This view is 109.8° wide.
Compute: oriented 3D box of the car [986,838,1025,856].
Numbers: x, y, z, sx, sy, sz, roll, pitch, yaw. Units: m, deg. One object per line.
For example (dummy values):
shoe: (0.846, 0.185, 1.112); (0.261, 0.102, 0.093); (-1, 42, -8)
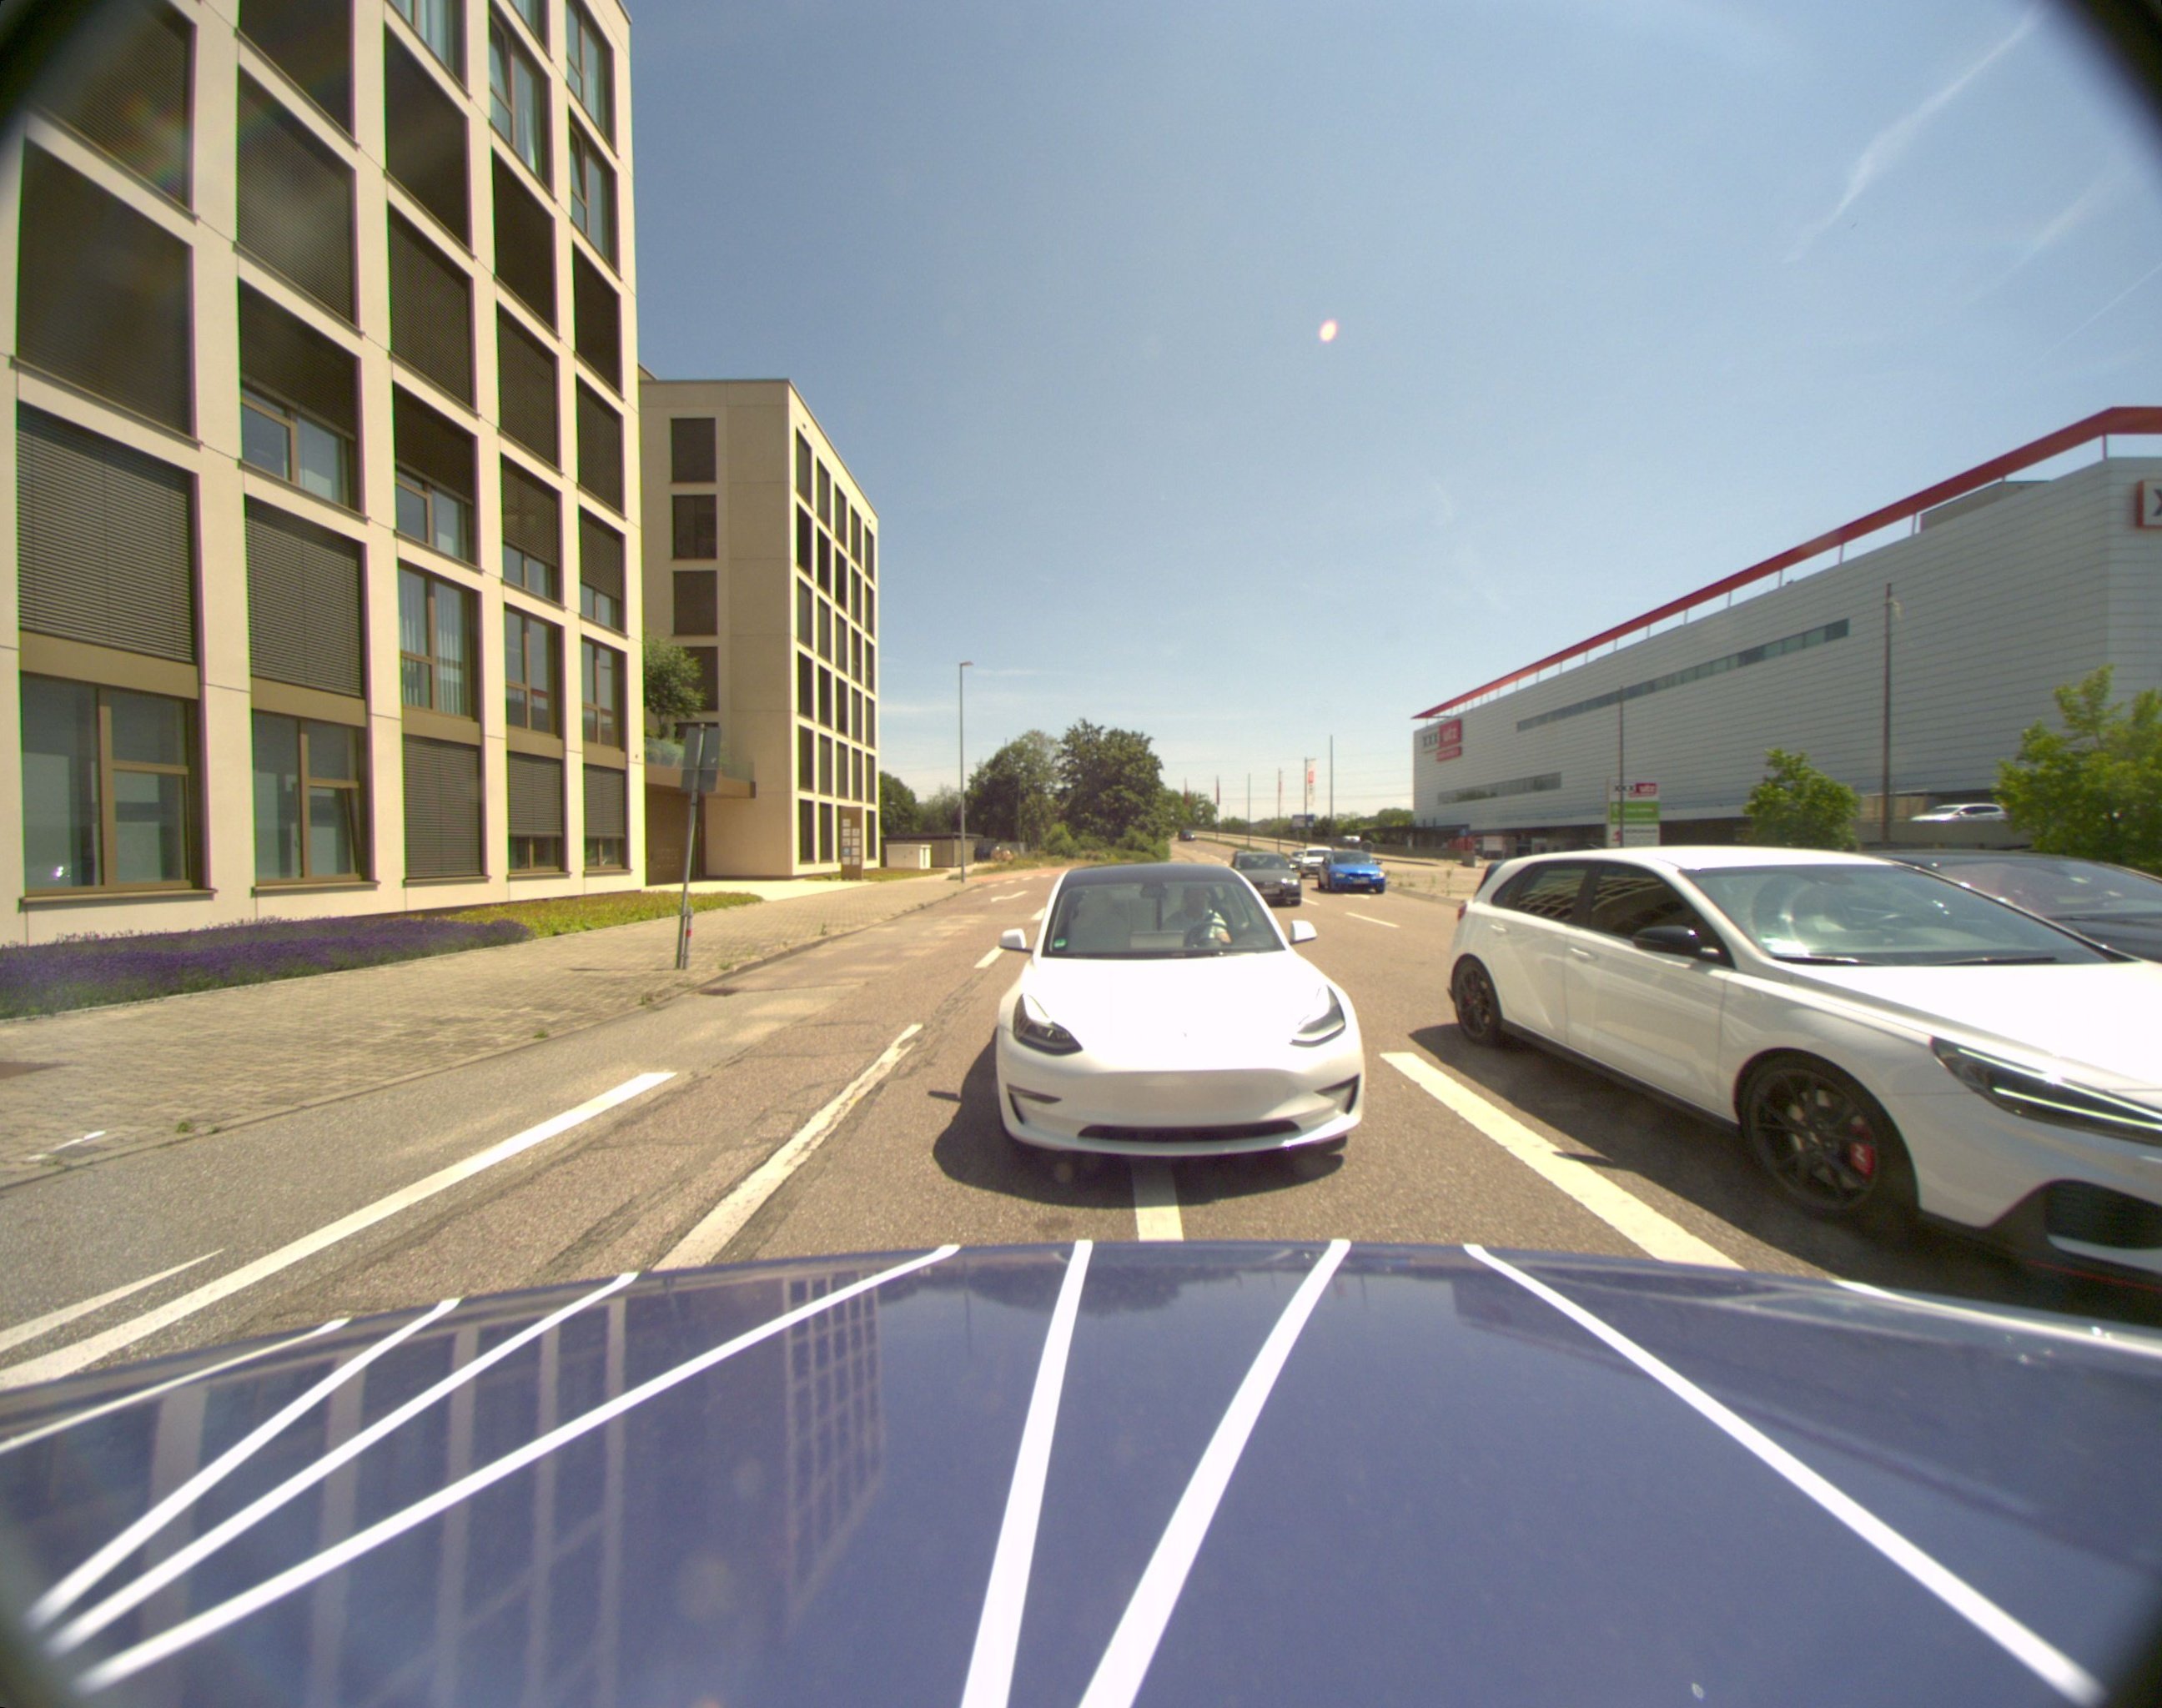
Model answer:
car: (-8.584, -0.774, 86.092); (4.005, 1.942, 1.996); (0, 1, -24)

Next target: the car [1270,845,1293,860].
car: (21.889, -0.203, 83.066); (1.837, 1.652, 4.001); (0, 1, 6)

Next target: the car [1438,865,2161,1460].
car: (3.672, 0.824, 3.897); (1.735, 1.441, 4.230); (0, 0, 1)

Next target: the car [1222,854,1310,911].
car: (4.967, 0.714, 20.931); (1.801, 1.369, 4.408); (0, 0, 6)

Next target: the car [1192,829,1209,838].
car: (21.374, -3.702, 136.007); (1.999, 1.347, 4.364); (-2, 3, -4)

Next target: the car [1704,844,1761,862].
car: (61.177, -0.095, 71.398); (3.746, 1.611, 1.912); (0, 1, 1)

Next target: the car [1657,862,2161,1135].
car: (6.673, 0.788, 5.469); (1.752, 1.382, 4.534); (-1, 0, 3)

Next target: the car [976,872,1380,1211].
car: (0.414, 0.933, 5.794); (1.880, 1.417, 4.405); (-2, 0, -1)

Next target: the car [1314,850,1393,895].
car: (9.388, 0.595, 26.522); (1.800, 1.405, 4.409); (0, 1, 9)

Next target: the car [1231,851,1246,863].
car: (16.679, 0.278, 80.525); (1.473, 1.182, 3.355); (2, 2, 11)

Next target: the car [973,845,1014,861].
car: (-9.423, -0.167, 82.086); (4.005, 1.652, 1.834); (0, 1, -23)

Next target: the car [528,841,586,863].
car: (-46.449, -0.194, 67.474); (1.997, 1.841, 4.003); (0, 1, 10)

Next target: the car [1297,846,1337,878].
car: (12.324, 0.386, 39.906); (1.677, 1.566, 4.060); (-1, 1, 13)
